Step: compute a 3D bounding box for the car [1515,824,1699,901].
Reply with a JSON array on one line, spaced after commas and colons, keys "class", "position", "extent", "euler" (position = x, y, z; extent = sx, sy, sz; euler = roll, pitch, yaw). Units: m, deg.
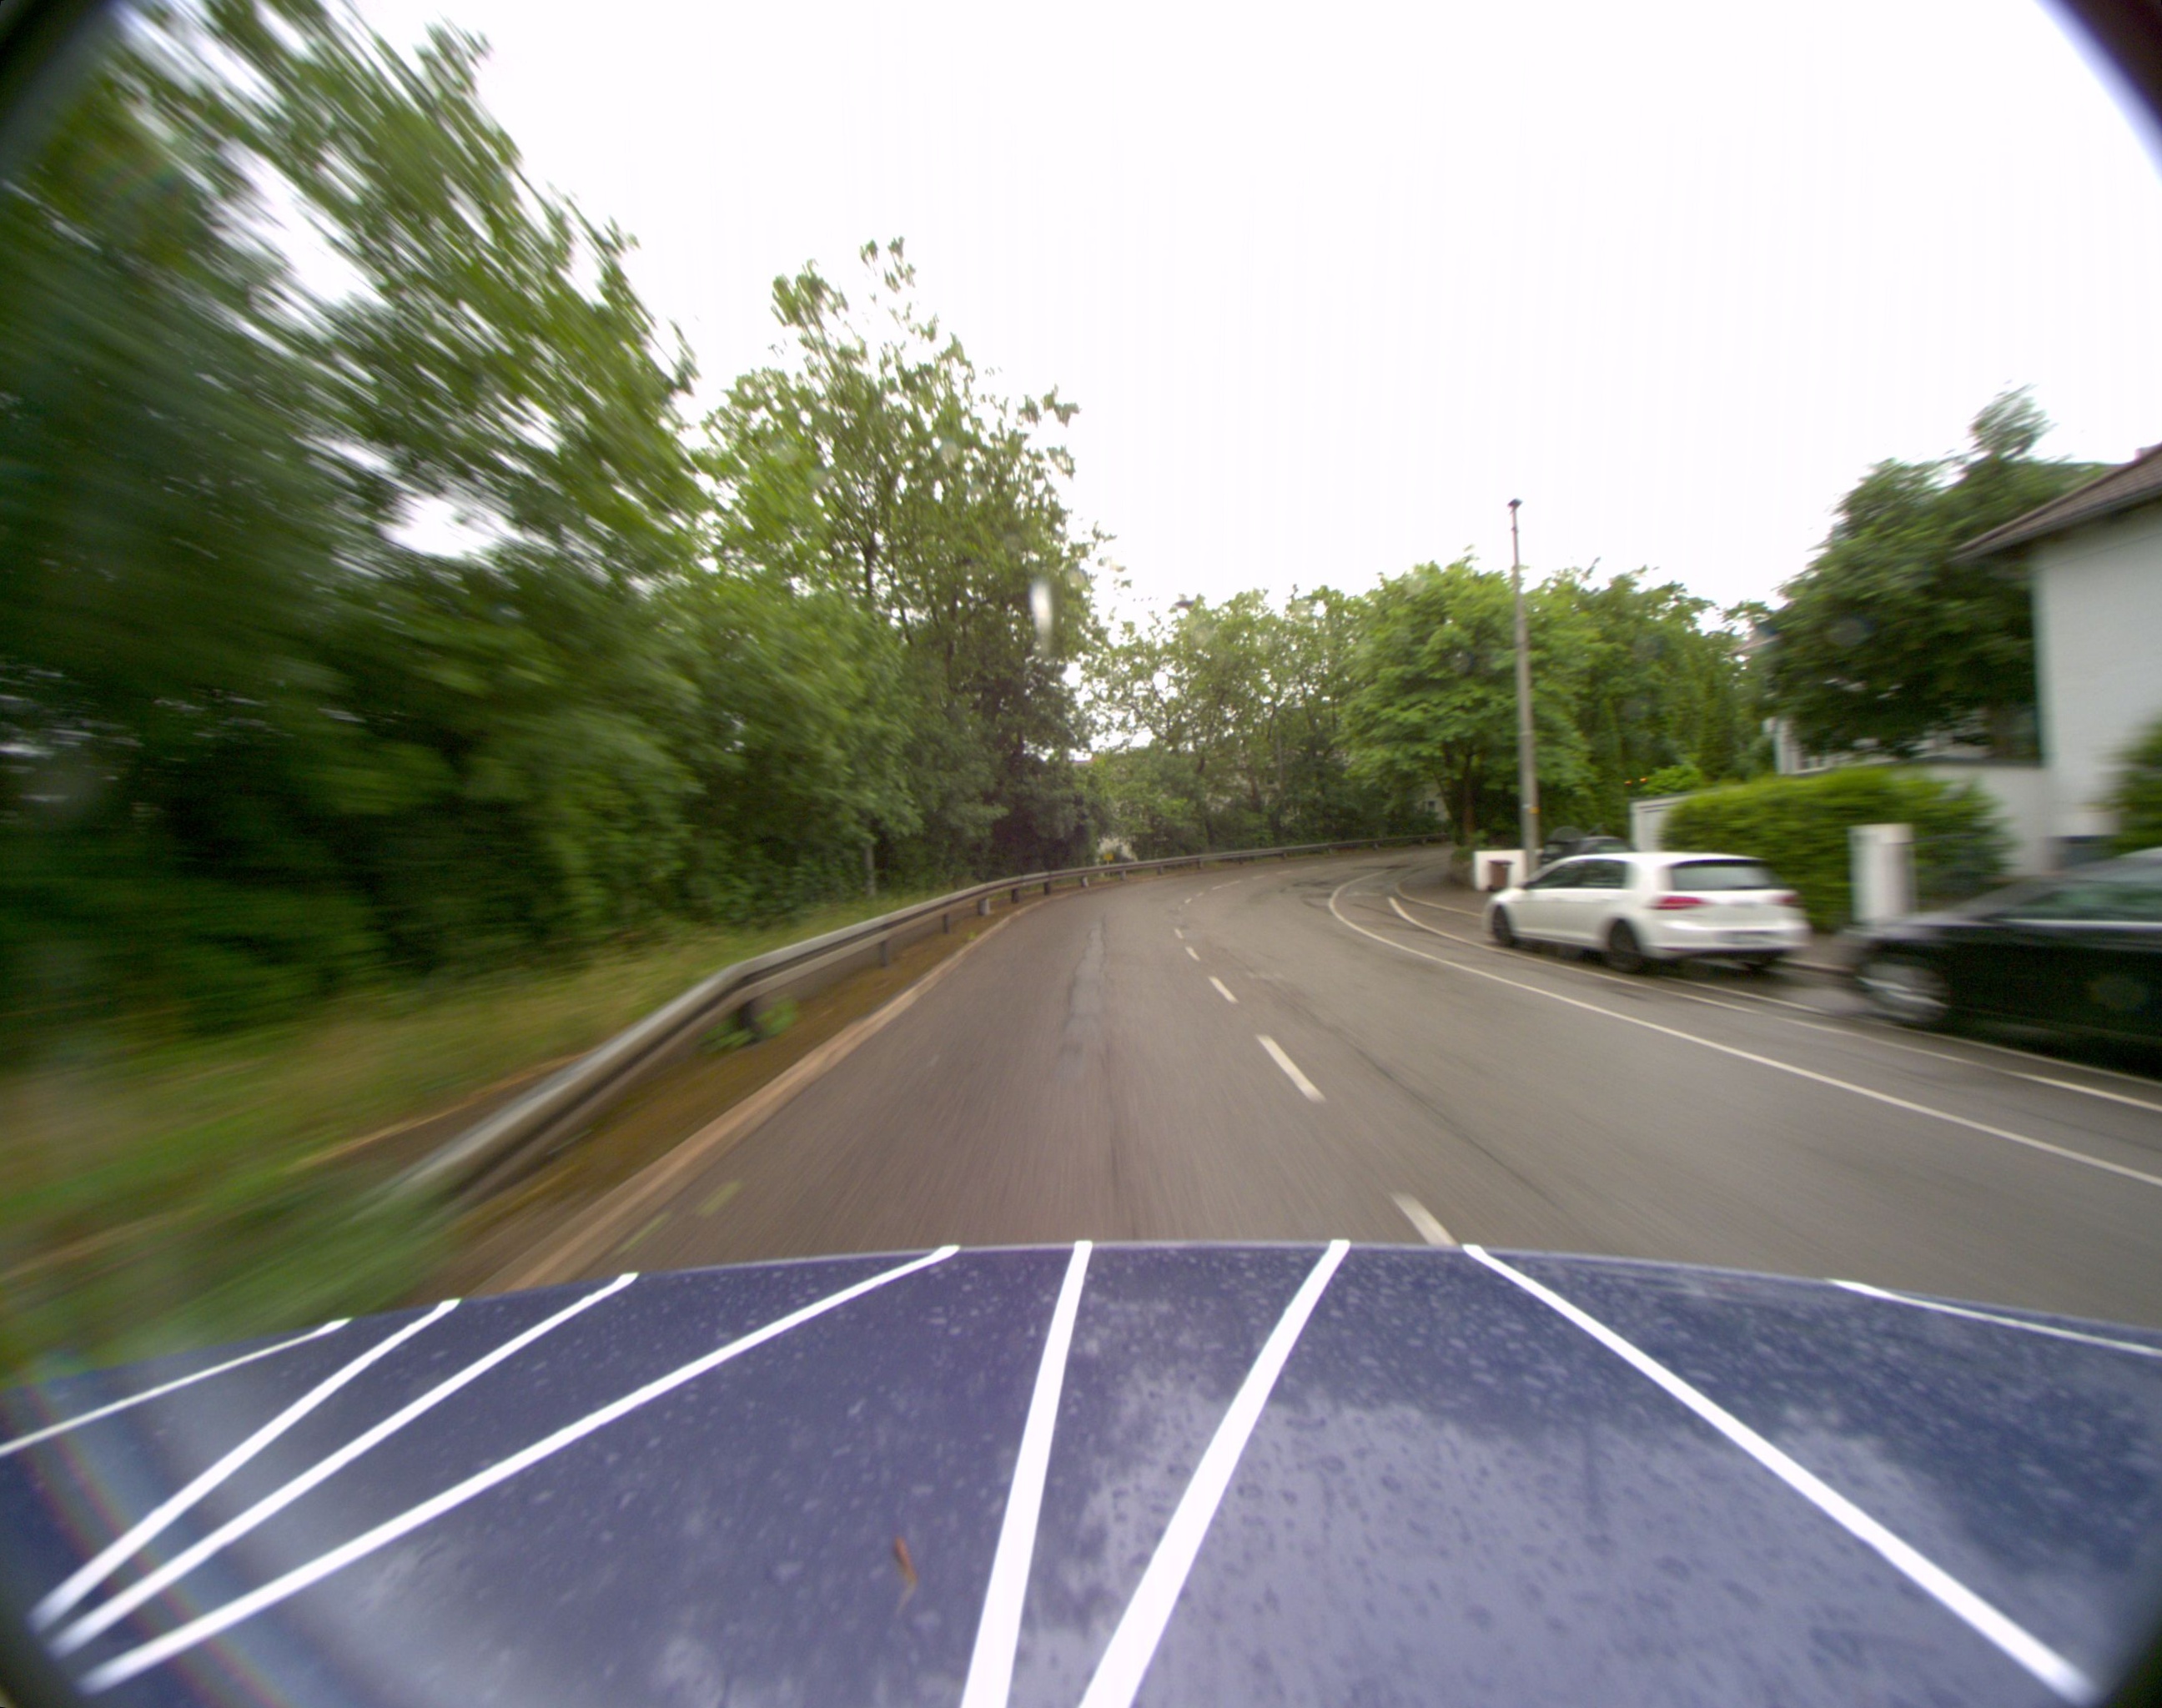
[{"class": "car", "position": [13.250, 0.187, 19.271], "extent": [3.346, 1.511, 1.822], "euler": [-6, 1, -3]}]

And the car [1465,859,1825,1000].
[{"class": "car", "position": [7.183, 0.830, 10.363], "extent": [1.737, 1.414, 4.282], "euler": [-2, 1, 0]}]

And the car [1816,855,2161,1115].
[{"class": "car", "position": [7.326, 0.790, 4.485], "extent": [1.702, 1.516, 4.422], "euler": [-1, 0, 0]}]
